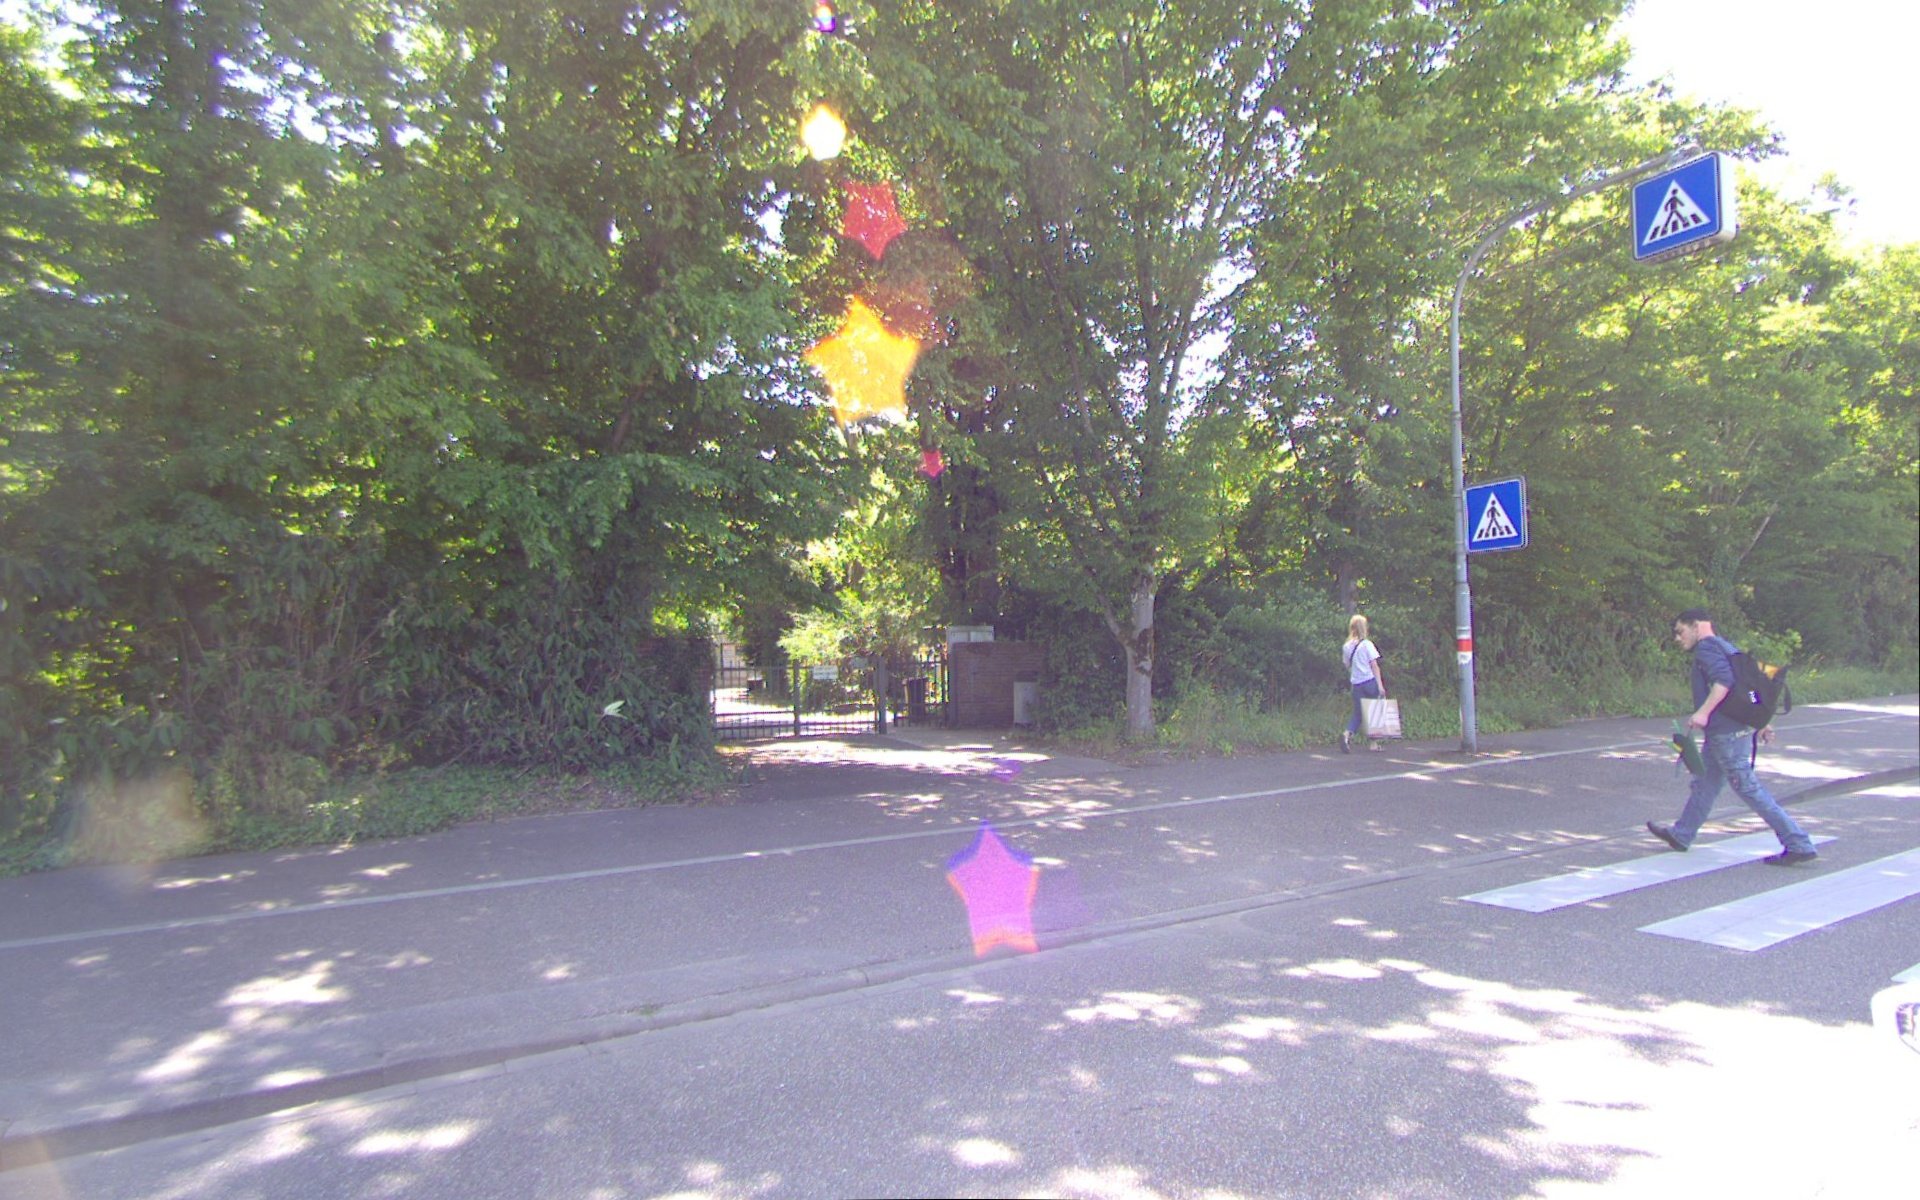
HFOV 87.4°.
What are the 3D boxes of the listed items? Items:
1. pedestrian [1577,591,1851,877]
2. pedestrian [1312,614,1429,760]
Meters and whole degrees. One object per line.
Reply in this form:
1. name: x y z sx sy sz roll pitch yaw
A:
1. pedestrian: 5.241 0.891 7.035 1.012 1.773 1.149 1 -5 -33
2. pedestrian: 4.881 0.998 11.969 0.875 1.634 0.928 0 -1 -30
